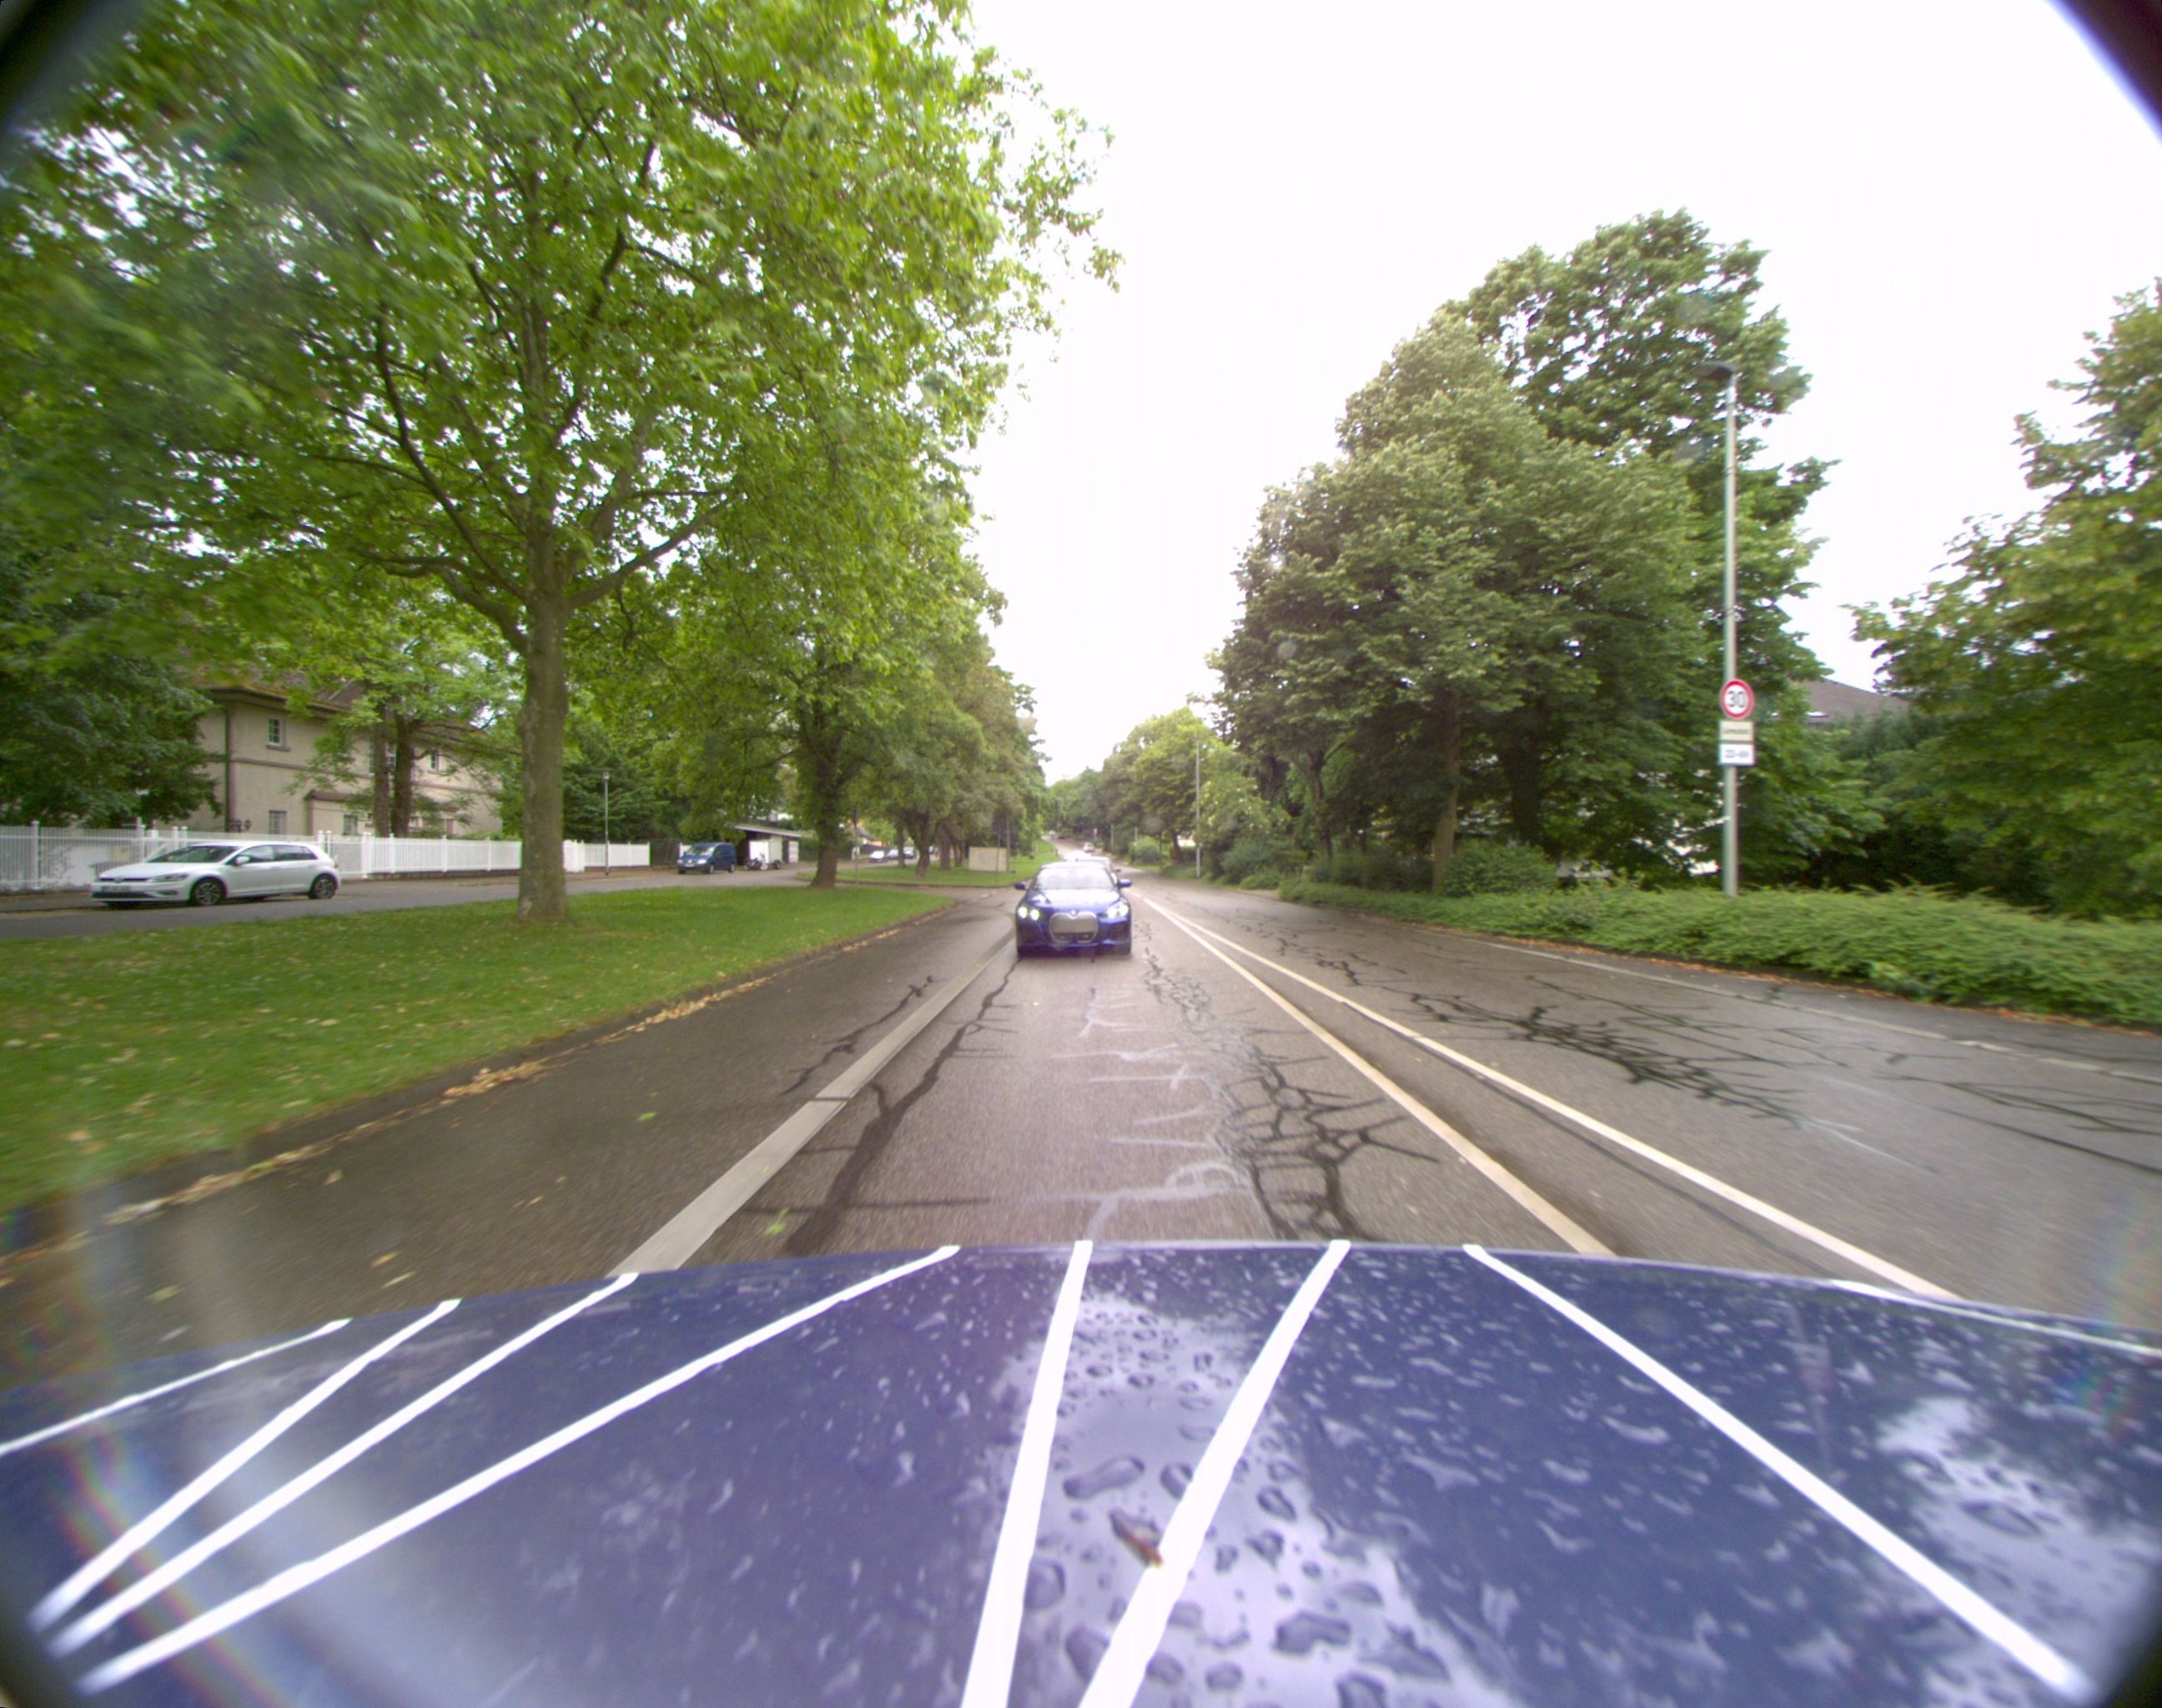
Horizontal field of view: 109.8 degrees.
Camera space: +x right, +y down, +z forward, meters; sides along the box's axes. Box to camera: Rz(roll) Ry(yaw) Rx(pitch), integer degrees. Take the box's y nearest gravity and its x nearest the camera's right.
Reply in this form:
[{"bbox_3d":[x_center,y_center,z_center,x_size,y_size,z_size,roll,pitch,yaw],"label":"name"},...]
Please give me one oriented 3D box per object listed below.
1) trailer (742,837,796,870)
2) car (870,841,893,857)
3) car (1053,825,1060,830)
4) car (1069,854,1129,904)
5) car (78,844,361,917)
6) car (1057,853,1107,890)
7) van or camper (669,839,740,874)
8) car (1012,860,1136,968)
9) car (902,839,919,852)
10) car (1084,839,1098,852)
[{"bbox_3d":[-21.827,-0.071,53.395,1.771,2.104,5.191,-2,1,-3],"label":"trailer"},{"bbox_3d":[-24.978,-0.615,95.235,1.999,2.002,3.999,1,1,-1],"label":"car"},{"bbox_3d":[-6.911,-7.401,213.073,1.825,1.471,4.067,0,1,2],"label":"car"},{"bbox_3d":[0.547,0.797,25.961,1.826,1.471,4.066,-2,1,-1],"label":"car"},{"bbox_3d":[-19.702,0.516,17.736,1.999,1.440,4.122,-2,1,-4],"label":"car"},{"bbox_3d":[0.016,0.729,33.690,2.032,1.471,4.066,-2,1,-1],"label":"car"},{"bbox_3d":[-21.369,0.105,43.398,1.999,1.798,4.773,-2,1,-5],"label":"van or camper"},{"bbox_3d":[-0.139,0.922,13.473,1.826,1.471,4.066,-2,1,-1],"label":"car"},{"bbox_3d":[-26.697,-1.320,119.246,1.999,2.002,3.999,1,0,-3],"label":"car"},{"bbox_3d":[1.724,-1.463,132.425,1.999,2.001,4.572,0,-1,-6],"label":"car"}]
